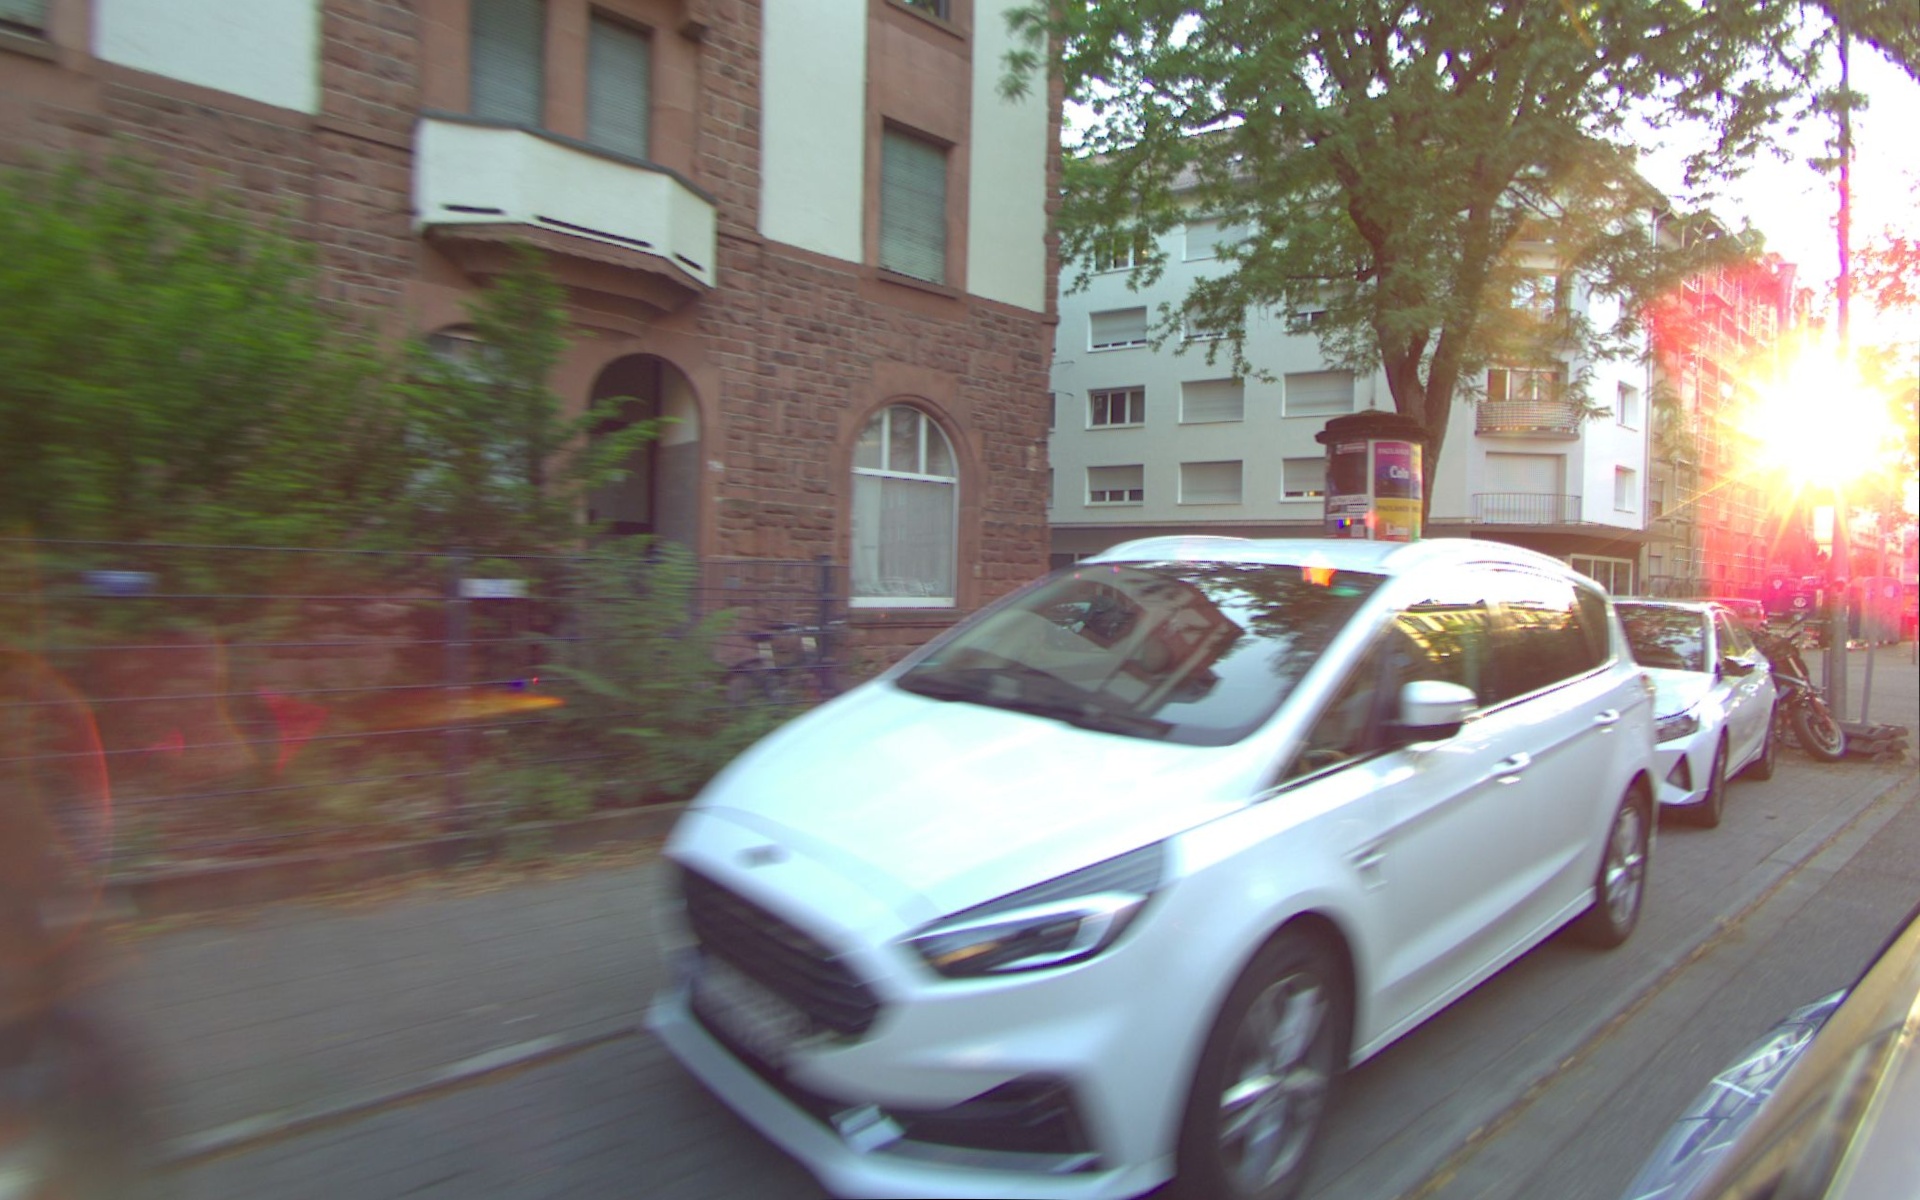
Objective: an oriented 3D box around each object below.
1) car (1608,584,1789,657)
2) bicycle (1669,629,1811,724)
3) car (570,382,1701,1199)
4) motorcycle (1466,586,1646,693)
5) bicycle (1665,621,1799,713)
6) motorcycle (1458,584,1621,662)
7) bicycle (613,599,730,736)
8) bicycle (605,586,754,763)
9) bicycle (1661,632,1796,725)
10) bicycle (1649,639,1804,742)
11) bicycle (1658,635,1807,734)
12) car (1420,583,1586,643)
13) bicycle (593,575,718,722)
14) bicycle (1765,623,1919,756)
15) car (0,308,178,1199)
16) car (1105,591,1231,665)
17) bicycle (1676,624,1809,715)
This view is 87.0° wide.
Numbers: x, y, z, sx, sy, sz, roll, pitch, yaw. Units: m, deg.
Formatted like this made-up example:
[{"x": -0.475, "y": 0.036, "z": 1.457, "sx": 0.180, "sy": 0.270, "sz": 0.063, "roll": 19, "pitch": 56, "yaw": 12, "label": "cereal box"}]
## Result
[{"x": 18.366, "y": 0.475, "z": 25.365, "sx": 3.450, "sy": 1.593, "sz": 1.608, "roll": 3, "pitch": 0, "yaw": 31, "label": "car"}, {"x": 8.870, "y": 0.848, "z": 11.545, "sx": 1.217, "sy": 0.969, "sz": 0.327, "roll": 2, "pitch": 0, "yaw": 28, "label": "bicycle"}, {"x": 1.145, "y": 0.487, "z": 3.782, "sx": 4.524, "sy": 1.732, "sz": 1.800, "roll": 0, "pitch": 2, "yaw": -43, "label": "car"}, {"x": 8.651, "y": 0.555, "z": 14.742, "sx": 2.173, "sy": 1.426, "sz": 0.585, "roll": 2, "pitch": 0, "yaw": 4, "label": "motorcycle"}, {"x": 9.400, "y": 0.796, "z": 12.355, "sx": 0.325, "sy": 1.000, "sz": 1.226, "roll": 2, "pitch": 1, "yaw": -43, "label": "bicycle"}, {"x": 8.957, "y": 0.343, "z": 15.691, "sx": 2.174, "sy": 1.093, "sz": 0.437, "roll": 2, "pitch": 0, "yaw": 5, "label": "motorcycle"}, {"x": -2.567, "y": 0.553, "z": 8.919, "sx": 0.325, "sy": 1.047, "sz": 1.512, "roll": 2, "pitch": 1, "yaw": -42, "label": "bicycle"}, {"x": -1.977, "y": 0.462, "z": 7.007, "sx": 0.325, "sy": 1.047, "sz": 1.512, "roll": 2, "pitch": 1, "yaw": -42, "label": "bicycle"}, {"x": 9.037, "y": 0.907, "z": 11.946, "sx": 1.219, "sy": 0.975, "sz": 0.326, "roll": 2, "pitch": 0, "yaw": 34, "label": "bicycle"}, {"x": 7.989, "y": 0.925, "z": 10.582, "sx": 1.214, "sy": 0.963, "sz": 0.328, "roll": 2, "pitch": 0, "yaw": 23, "label": "bicycle"}, {"x": 8.394, "y": 0.902, "z": 11.040, "sx": 1.217, "sy": 0.959, "sz": 0.327, "roll": 2, "pitch": 0, "yaw": 28, "label": "bicycle"}, {"x": 14.636, "y": 0.328, "z": 27.417, "sx": 3.863, "sy": 1.527, "sz": 1.609, "roll": 1, "pitch": -1, "yaw": 30, "label": "car"}, {"x": -2.492, "y": 0.351, "z": 8.181, "sx": 0.325, "sy": 1.047, "sz": 1.512, "roll": 2, "pitch": 1, "yaw": -42, "label": "bicycle"}, {"x": 8.499, "y": 0.826, "z": 9.626, "sx": 1.602, "sy": 1.188, "sz": 0.446, "roll": 1, "pitch": 0, "yaw": -15, "label": "bicycle"}, {"x": -2.801, "y": 0.570, "z": 0.198, "sx": 4.135, "sy": 1.626, "sz": 1.690, "roll": 0, "pitch": 1, "yaw": -40, "label": "car"}, {"x": 4.724, "y": 0.566, "z": 22.676, "sx": 1.669, "sy": 1.496, "sz": 3.394, "roll": 1, "pitch": 1, "yaw": 32, "label": "car"}, {"x": 9.696, "y": 0.840, "z": 12.571, "sx": 0.325, "sy": 0.999, "sz": 1.226, "roll": 2, "pitch": 1, "yaw": -42, "label": "bicycle"}]
